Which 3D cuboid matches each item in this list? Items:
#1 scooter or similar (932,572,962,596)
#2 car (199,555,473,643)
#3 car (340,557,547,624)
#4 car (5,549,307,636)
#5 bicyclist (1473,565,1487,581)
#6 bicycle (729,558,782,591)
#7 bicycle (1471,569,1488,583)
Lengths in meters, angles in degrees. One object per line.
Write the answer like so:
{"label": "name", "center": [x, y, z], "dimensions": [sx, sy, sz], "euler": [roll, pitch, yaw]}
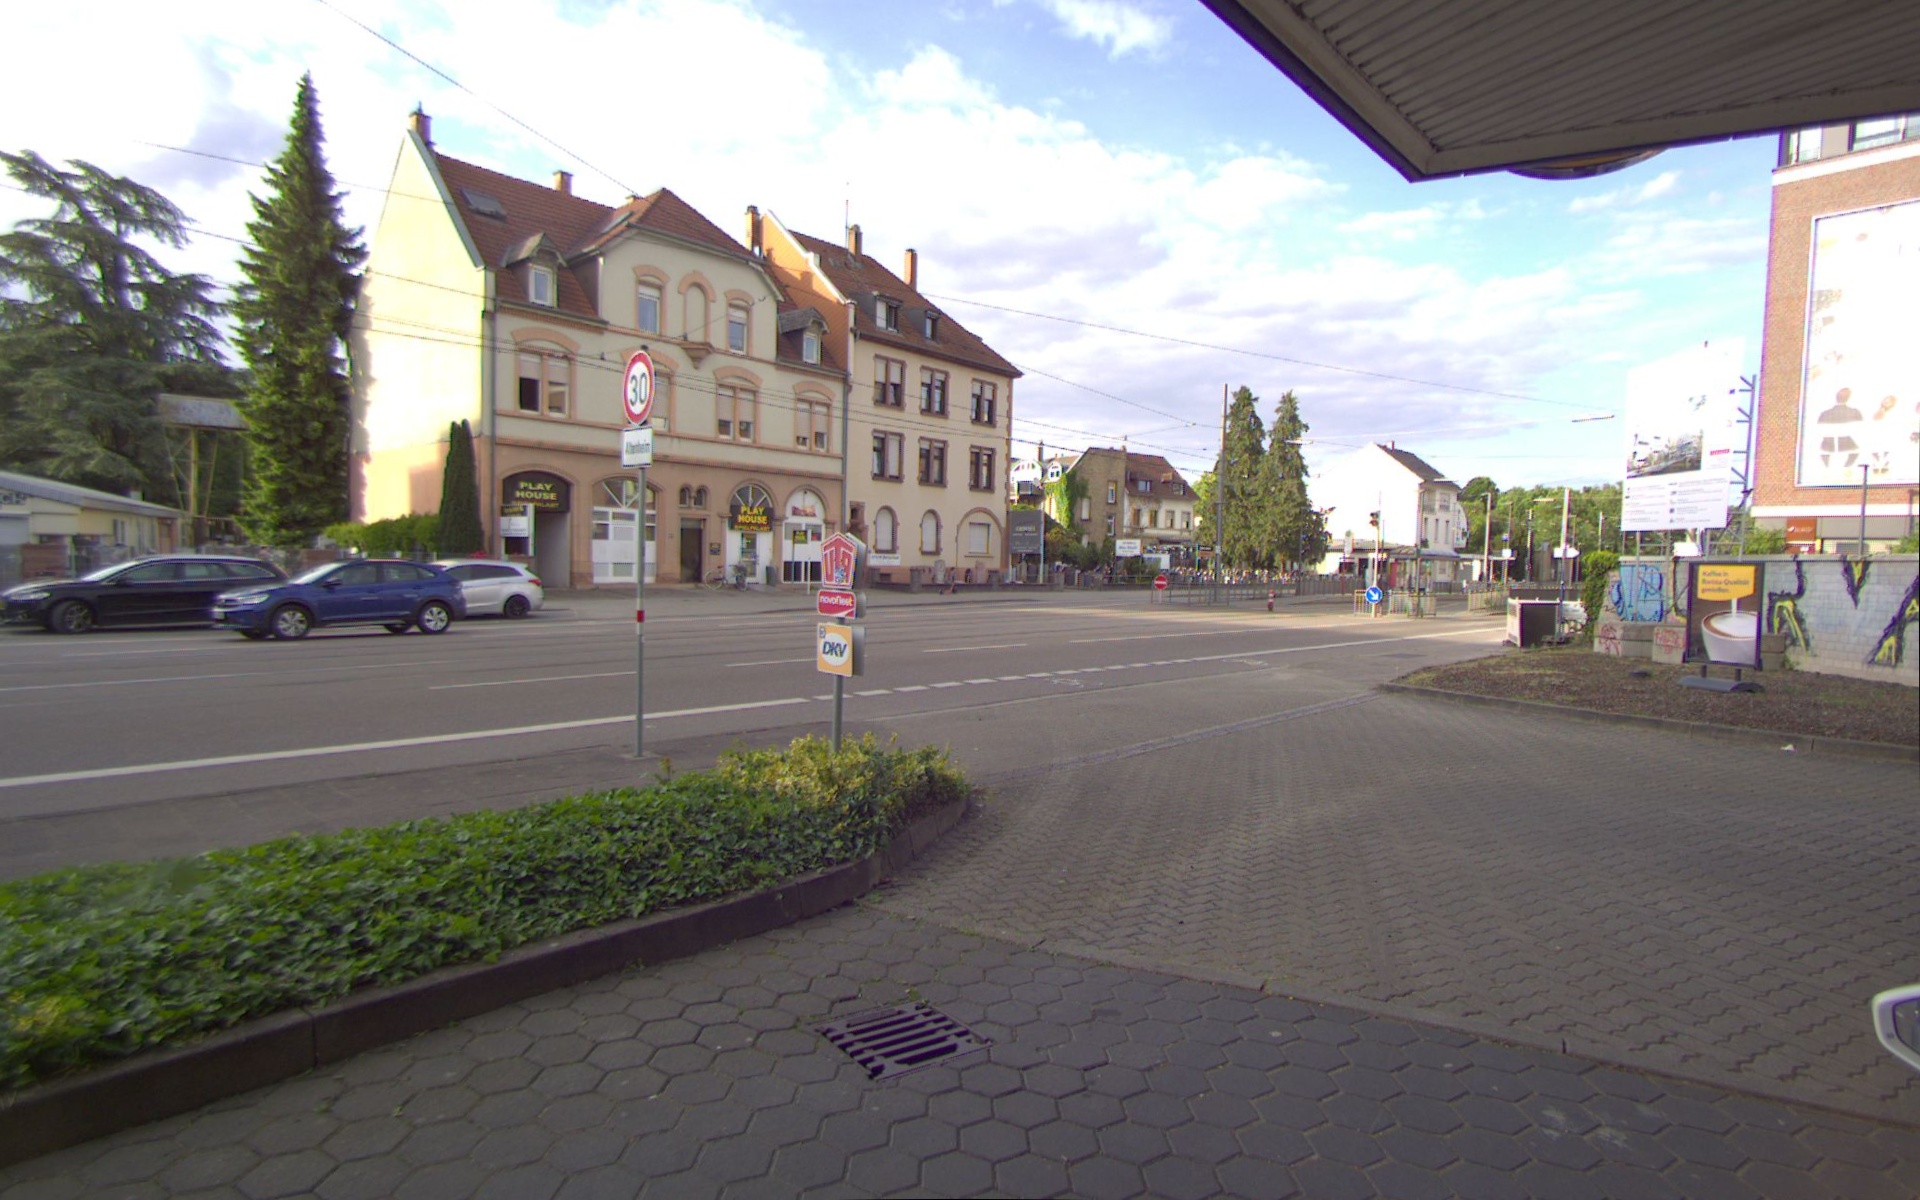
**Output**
{"label": "scooter or similar", "center": [-0.565, -0.723, 45.094], "dimensions": [0.437, 1.006, 1.460], "euler": [6, 5, 41]}
{"label": "car", "center": [-11.906, -0.075, 19.423], "dimensions": [1.833, 1.489, 4.124], "euler": [3, 3, 35]}
{"label": "car", "center": [-12.926, -0.256, 25.356], "dimensions": [1.718, 1.502, 4.357], "euler": [3, 2, 41]}
{"label": "car", "center": [-16.484, -0.179, 20.817], "dimensions": [1.827, 1.542, 4.642], "euler": [5, 4, 40]}
{"label": "bicyclist", "center": [51.722, -2.687, 99.874], "dimensions": [0.915, 1.428, 0.742], "euler": [-1, 10, -44]}
{"label": "bicycle", "center": [-8.246, -1.009, 40.628], "dimensions": [0.741, 1.219, 2.011], "euler": [8, 5, 41]}
{"label": "bicycle", "center": [51.651, -2.370, 99.855], "dimensions": [1.809, 1.219, 0.742], "euler": [0, 11, -45]}
